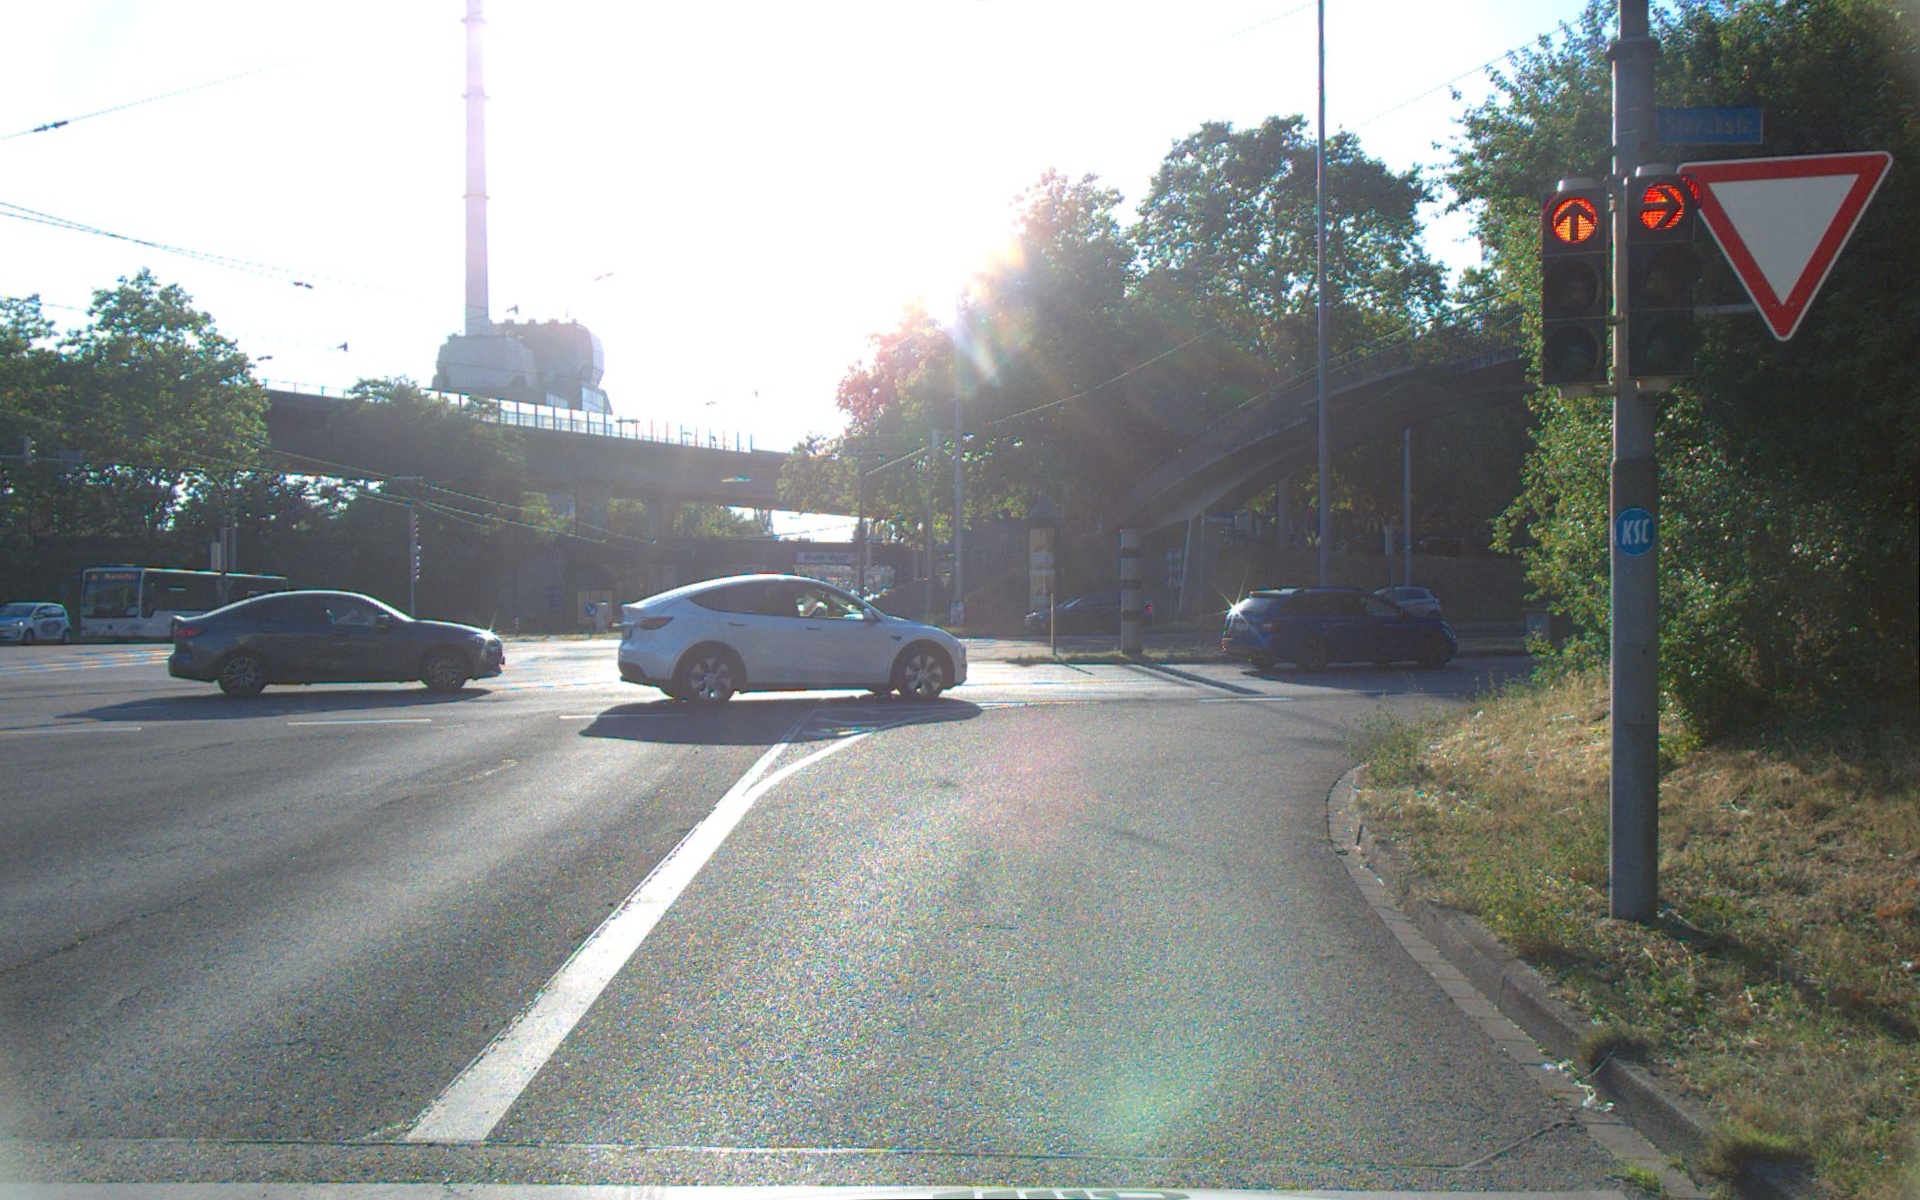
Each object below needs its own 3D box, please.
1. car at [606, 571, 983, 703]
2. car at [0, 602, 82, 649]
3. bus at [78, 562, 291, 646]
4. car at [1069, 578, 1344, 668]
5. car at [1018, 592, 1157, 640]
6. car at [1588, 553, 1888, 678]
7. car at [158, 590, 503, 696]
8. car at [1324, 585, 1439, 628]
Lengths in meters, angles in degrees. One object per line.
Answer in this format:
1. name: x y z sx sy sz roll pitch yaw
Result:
1. car: -2.166 0.465 21.802 4.685 1.602 1.682 1 0 -22
2. car: -32.162 0.853 57.241 1.574 1.538 4.006 1 0 -3
3. bus: -32.075 0.300 69.279 2.491 3.185 12.919 -1 -1 2
4. car: 4.299 0.390 28.839 4.545 1.484 1.683 0 0 -22
5. car: 4.413 0.550 57.140 4.505 1.602 1.685 1 0 -18
6. car: 13.528 0.260 28.756 4.860 2.026 2.023 0 0 -23
7. car: -8.847 0.589 23.480 4.413 1.393 1.683 1 0 -21
8. car: 15.751 0.246 61.829 3.935 1.538 1.684 1 0 -20
